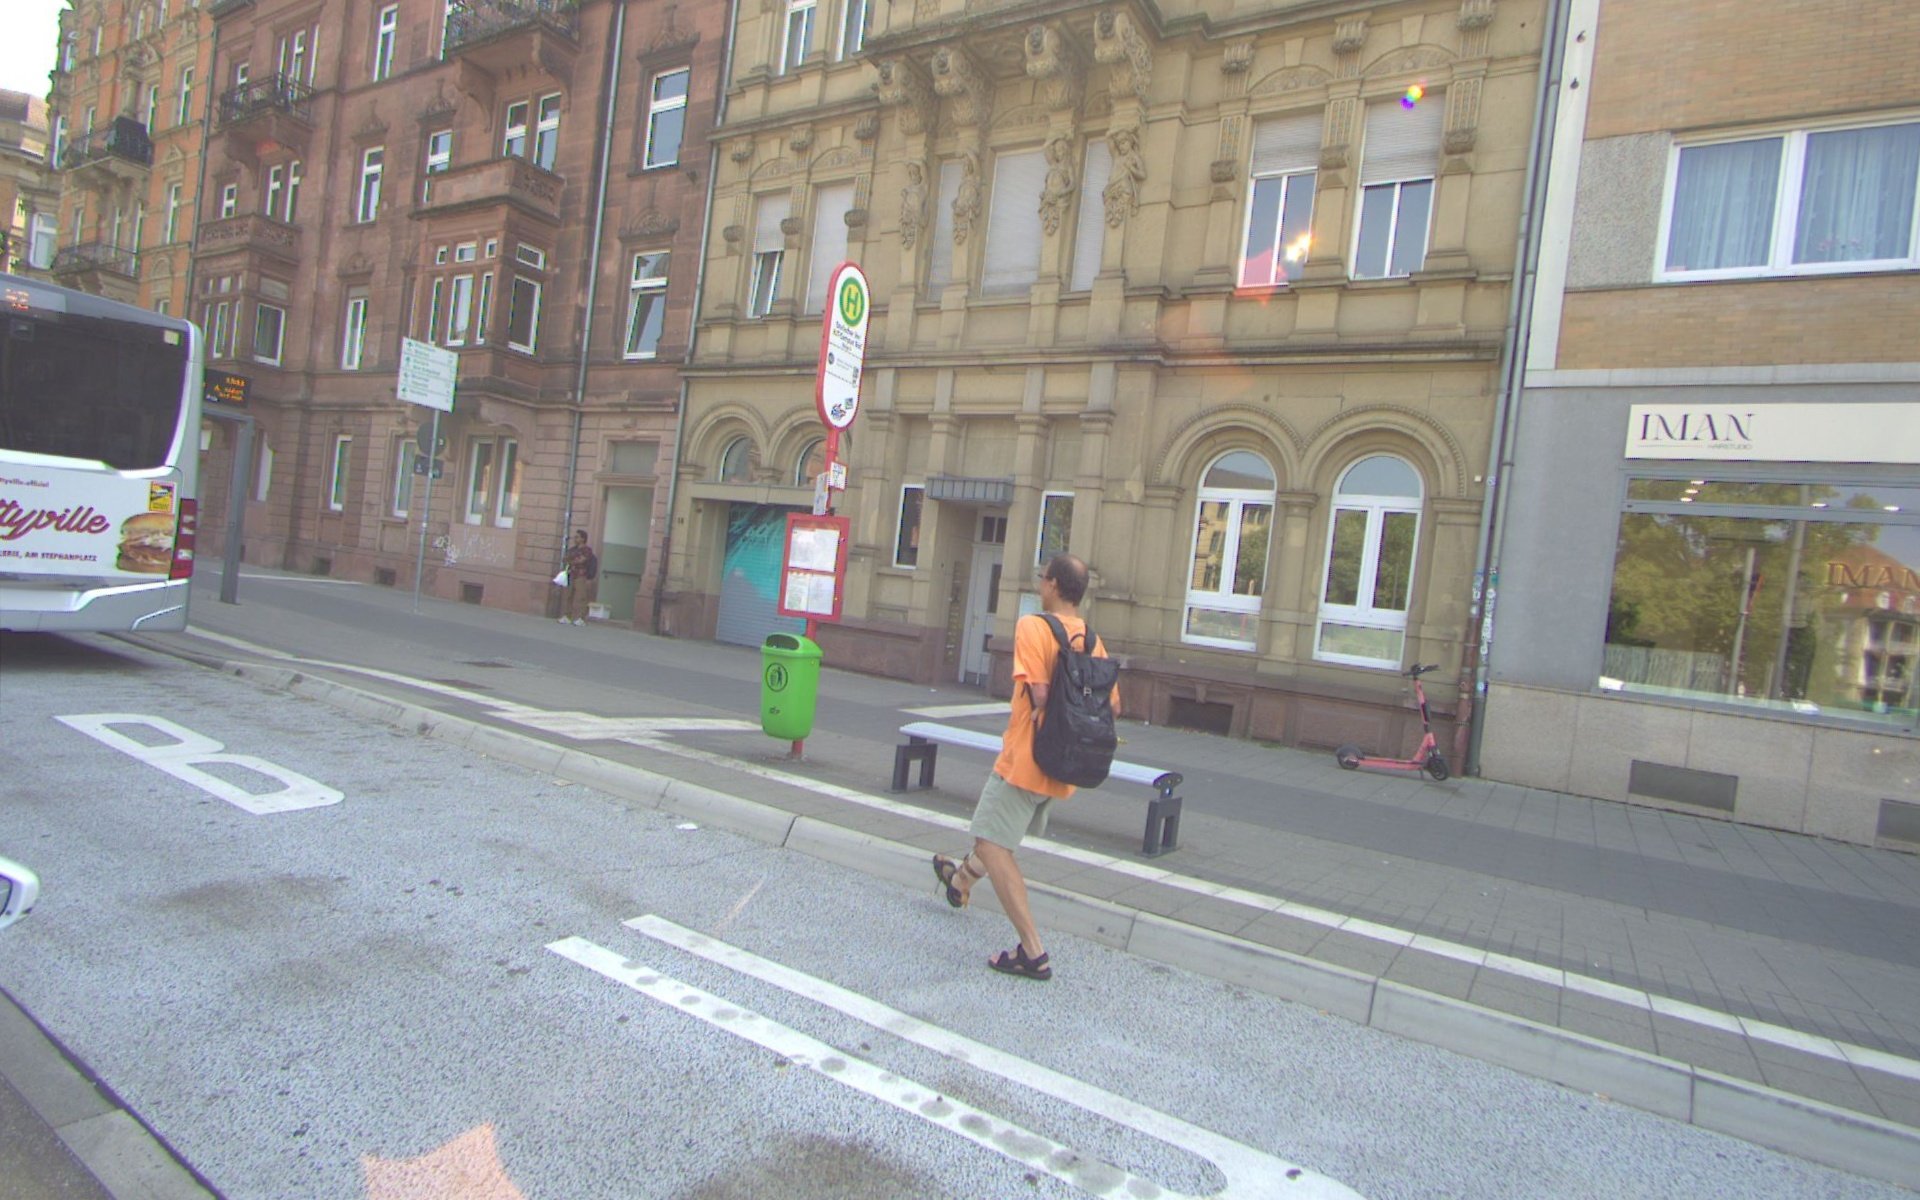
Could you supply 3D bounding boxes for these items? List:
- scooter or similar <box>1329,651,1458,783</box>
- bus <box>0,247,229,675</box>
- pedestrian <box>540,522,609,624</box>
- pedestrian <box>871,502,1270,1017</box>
[{"bbox_3d":[4.675,1.233,10.855,1.122,1.228,0.476,7,1,27],"label":"scooter or similar"},{"bbox_3d":[-12.036,-1.580,10.592,11.758,3.149,2.743,7,3,32],"label":"bus"},{"bbox_3d":[-7.250,-0.486,18.939,0.729,1.800,0.870,7,1,4],"label":"pedestrian"},{"bbox_3d":[0.400,0.561,4.196,0.956,1.763,1.230,5,1,-30],"label":"pedestrian"}]
